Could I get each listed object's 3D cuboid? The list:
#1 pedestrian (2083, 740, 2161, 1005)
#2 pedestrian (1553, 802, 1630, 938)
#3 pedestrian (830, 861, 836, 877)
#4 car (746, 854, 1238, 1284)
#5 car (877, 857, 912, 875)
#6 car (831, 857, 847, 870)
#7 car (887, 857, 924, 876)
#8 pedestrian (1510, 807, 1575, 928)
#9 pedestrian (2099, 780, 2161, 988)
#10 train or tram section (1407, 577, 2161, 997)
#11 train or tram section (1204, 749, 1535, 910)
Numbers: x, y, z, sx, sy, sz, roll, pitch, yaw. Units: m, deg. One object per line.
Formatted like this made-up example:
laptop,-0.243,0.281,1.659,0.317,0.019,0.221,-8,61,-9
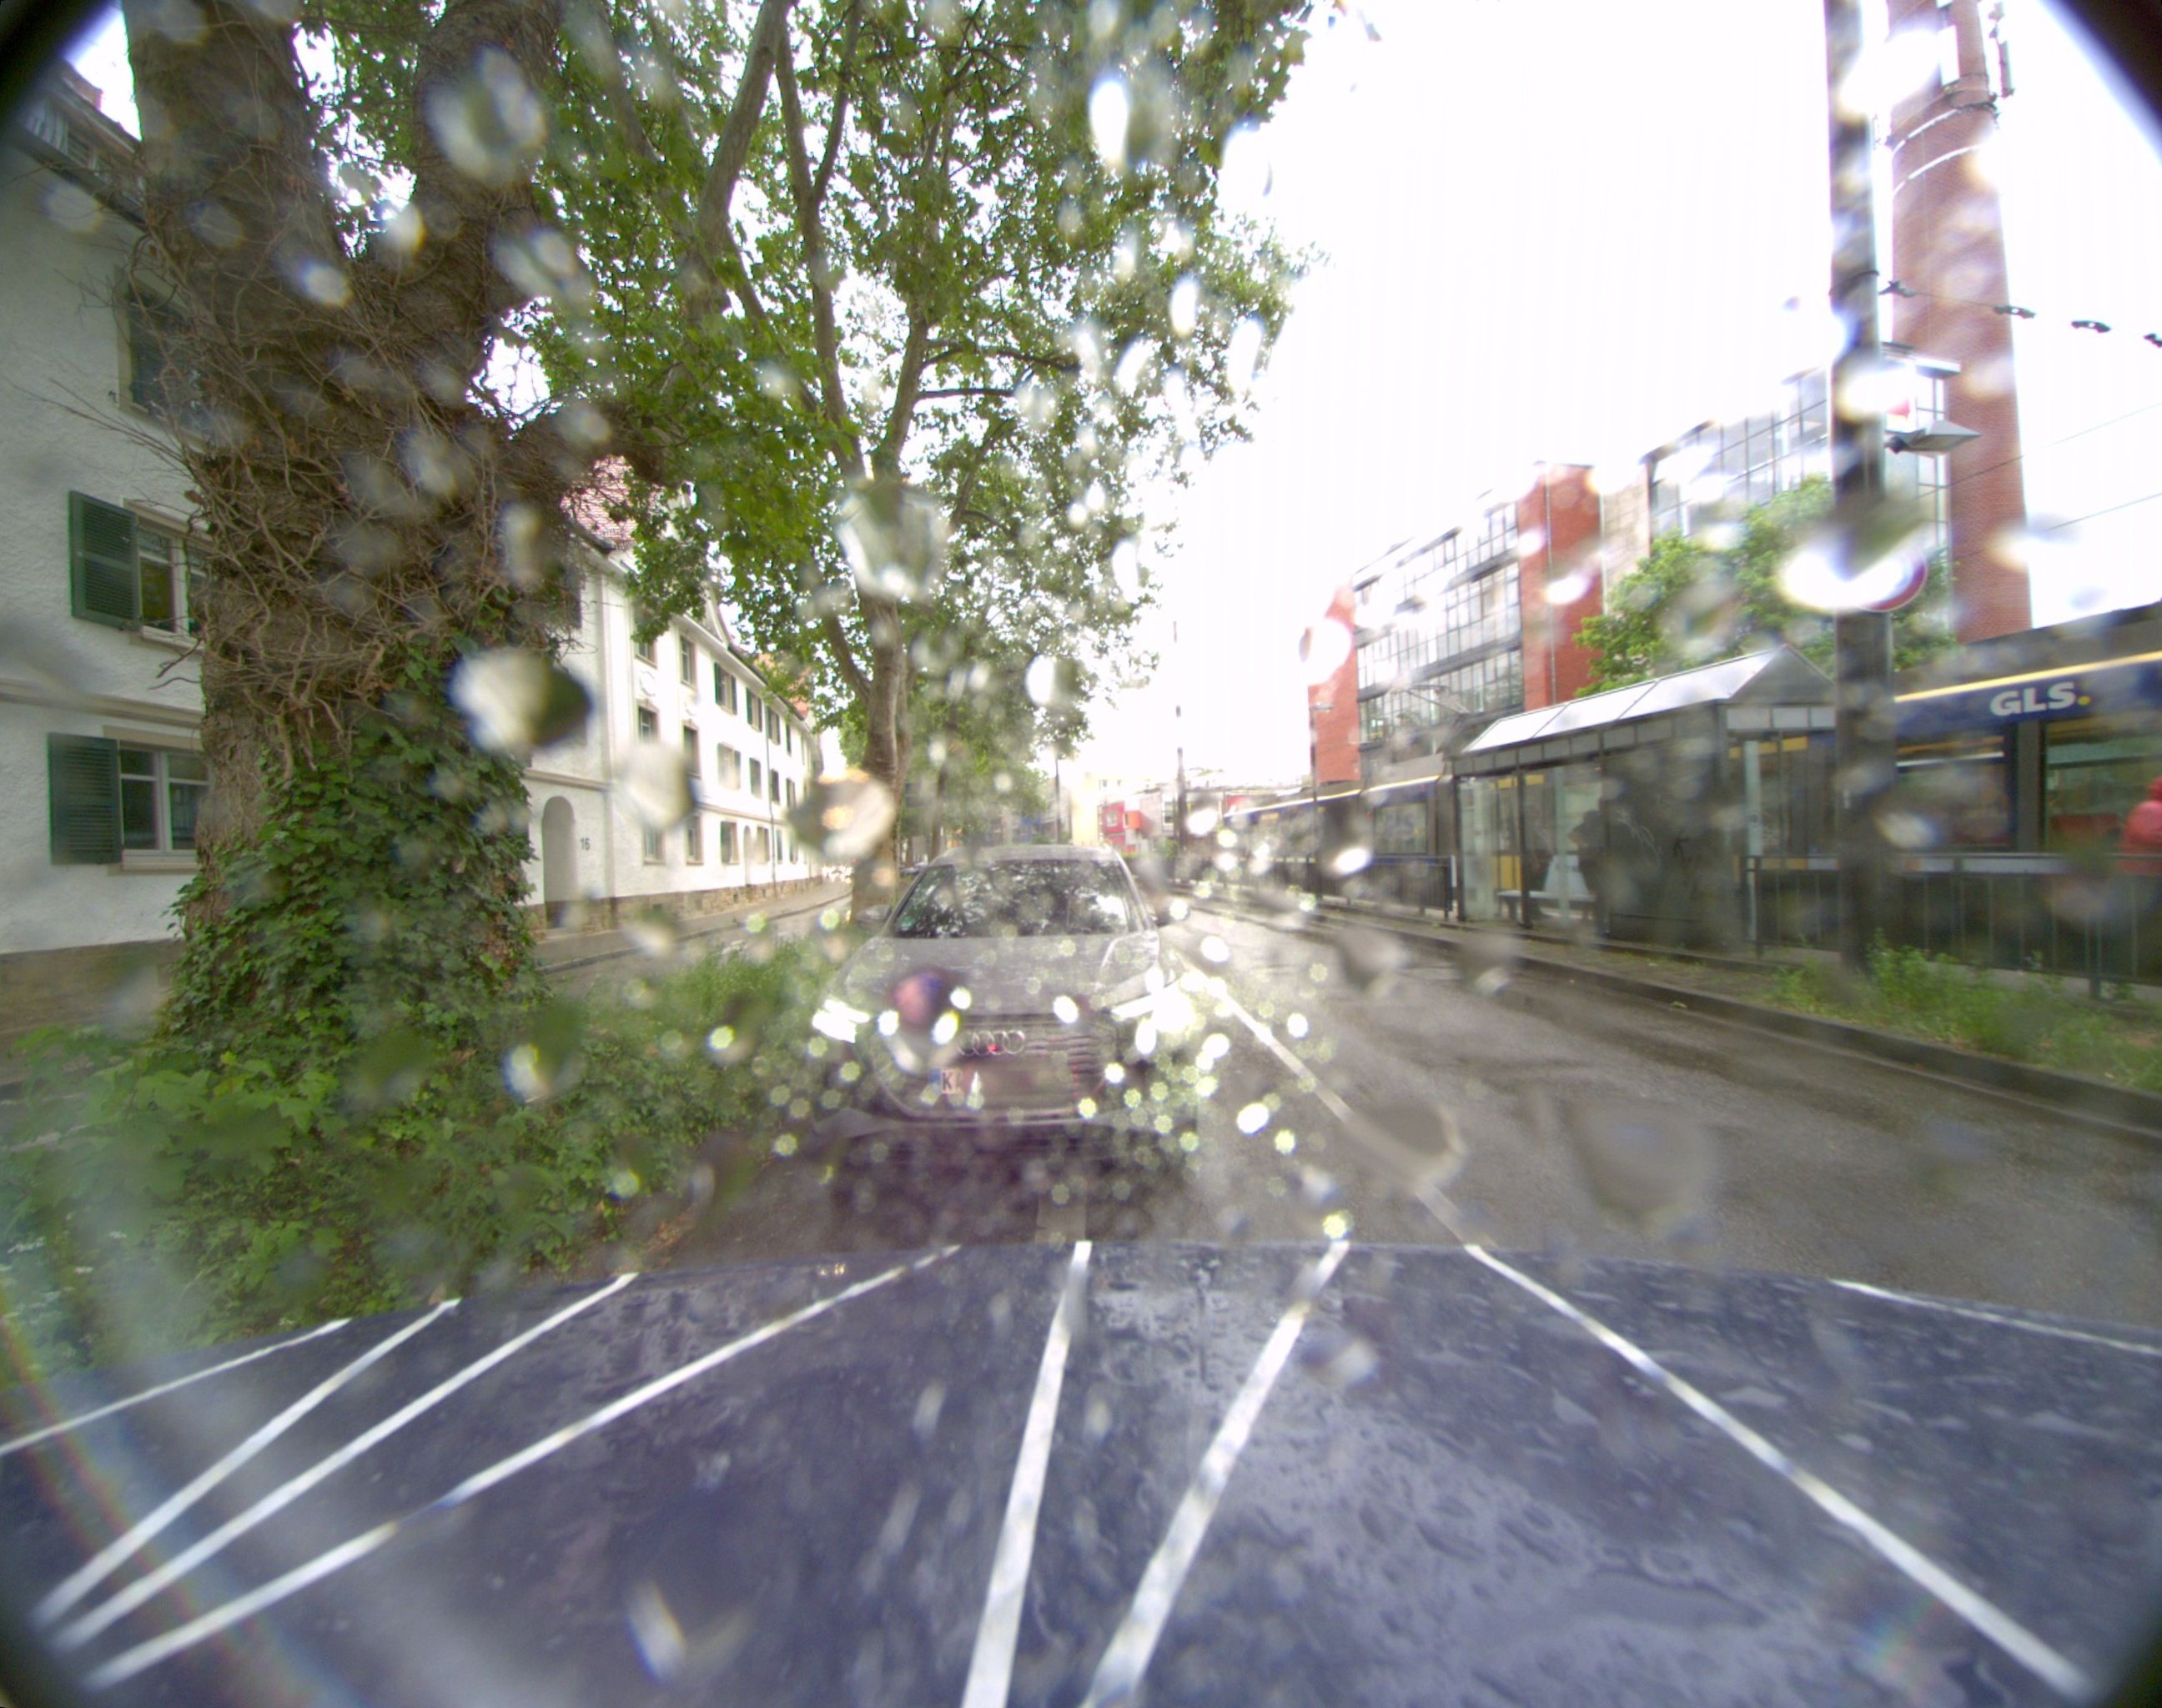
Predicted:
pedestrian,7.940,0.120,5.116,0.986,1.815,1.076,0,-2,-10
pedestrian,6.735,0.205,10.051,0.629,1.738,0.564,-2,1,9
pedestrian,-29.468,1.758,90.278,0.674,1.811,0.678,-3,1,-18
car,-0.410,0.863,5.126,1.917,1.632,4.106,-2,0,-2
car,-23.213,1.488,94.663,4.002,2.002,1.997,-2,0,-17
car,-45.009,1.774,141.333,2.199,2.250,5.401,-3,0,-24
car,-20.241,1.453,87.569,4.002,2.002,1.997,-2,0,-17
pedestrian,6.811,0.196,11.232,0.629,1.738,0.514,-2,1,9
pedestrian,8.475,0.231,5.883,0.799,1.562,0.658,1,-2,-36
train or tram section,9.873,-0.608,10.417,2.869,3.525,13.704,-3,0,-9
train or tram section,7.792,-0.579,24.759,2.869,3.525,15.361,-2,0,-8
